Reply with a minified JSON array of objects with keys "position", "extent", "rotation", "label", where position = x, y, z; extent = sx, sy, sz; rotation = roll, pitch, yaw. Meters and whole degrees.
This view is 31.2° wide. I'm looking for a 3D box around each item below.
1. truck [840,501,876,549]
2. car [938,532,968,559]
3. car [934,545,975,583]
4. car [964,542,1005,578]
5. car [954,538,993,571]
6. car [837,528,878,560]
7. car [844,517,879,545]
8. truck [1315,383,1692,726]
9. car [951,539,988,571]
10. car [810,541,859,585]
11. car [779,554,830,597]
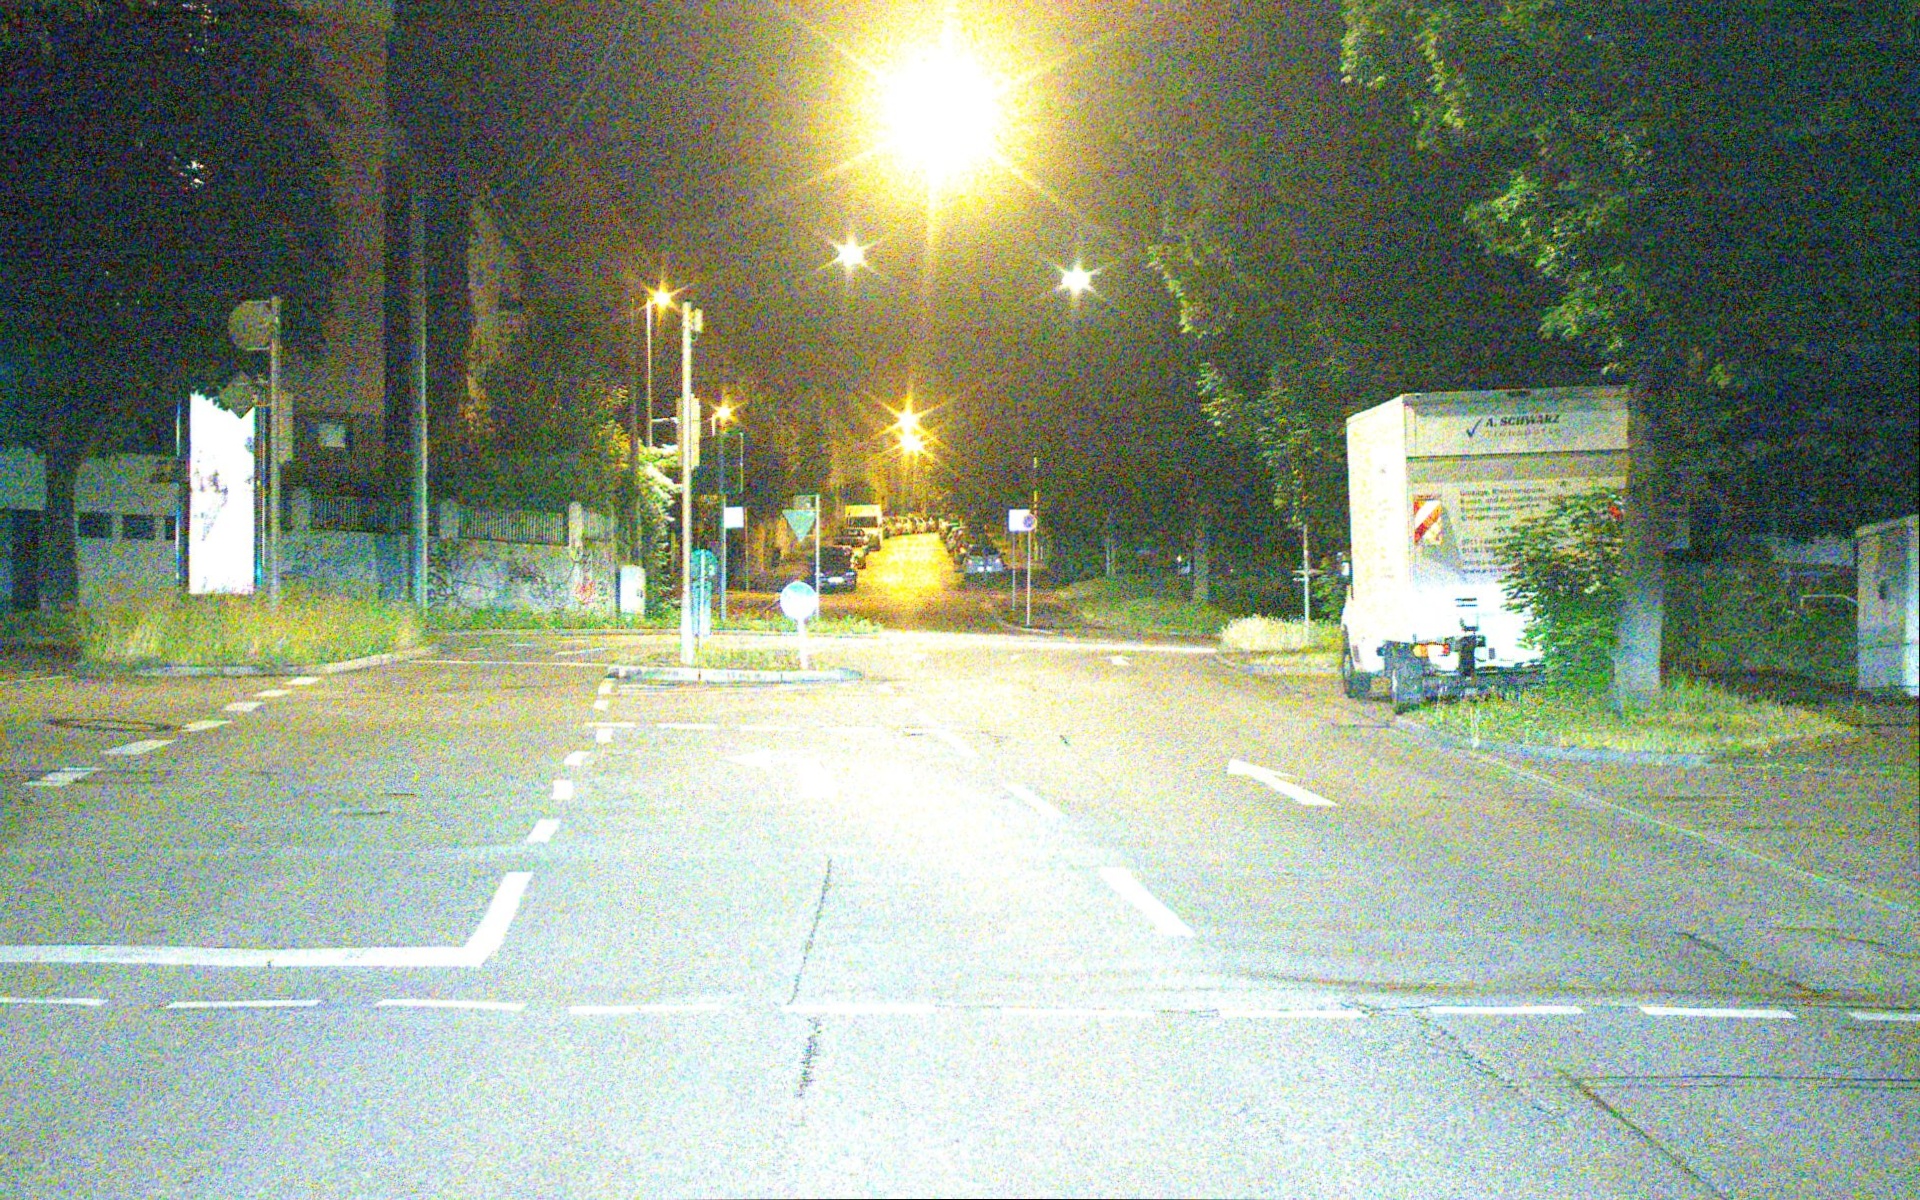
[{"position":[-6.222,-4.542,209.576],"extent":[2.086,2.838,5.832],"rotation":[1,1,-2],"label":"truck"},{"position":[-0.382,-3.024,191.482],"extent":[1.634,1.447,3.485],"rotation":[1,1,-1],"label":"car"},{"position":[-0.216,-1.456,138.035],"extent":[1.593,1.471,3.654],"rotation":[1,1,-1],"label":"car"},{"position":[1.023,-1.676,143.358],"extent":[1.634,1.447,3.485],"rotation":[1,1,-1],"label":"car"},{"position":[0.584,-2.034,153.091],"extent":[1.634,1.447,3.485],"rotation":[1,1,-1],"label":"car"},{"position":[-4.796,-2.614,160.565],"extent":[1.815,1.486,4.000],"rotation":[1,1,-2],"label":"car"},{"position":[-5.376,-3.735,186.946],"extent":[1.815,1.486,4.000],"rotation":[1,1,-2],"label":"car"},{"position":[5.301,-0.466,34.628],"extent":[2.749,3.100,6.258],"rotation":[1,1,0],"label":"truck"},{"position":[0.447,-2.085,159.276],"extent":[1.634,1.447,3.485],"rotation":[1,1,-1],"label":"car"},{"position":[-4.902,-1.459,134.444],"extent":[1.815,1.678,4.000],"rotation":[1,1,-1],"label":"car"},{"position":[-5.330,-0.850,118.223],"extent":[1.634,1.447,3.485],"rotation":[1,1,-1],"label":"car"}]
